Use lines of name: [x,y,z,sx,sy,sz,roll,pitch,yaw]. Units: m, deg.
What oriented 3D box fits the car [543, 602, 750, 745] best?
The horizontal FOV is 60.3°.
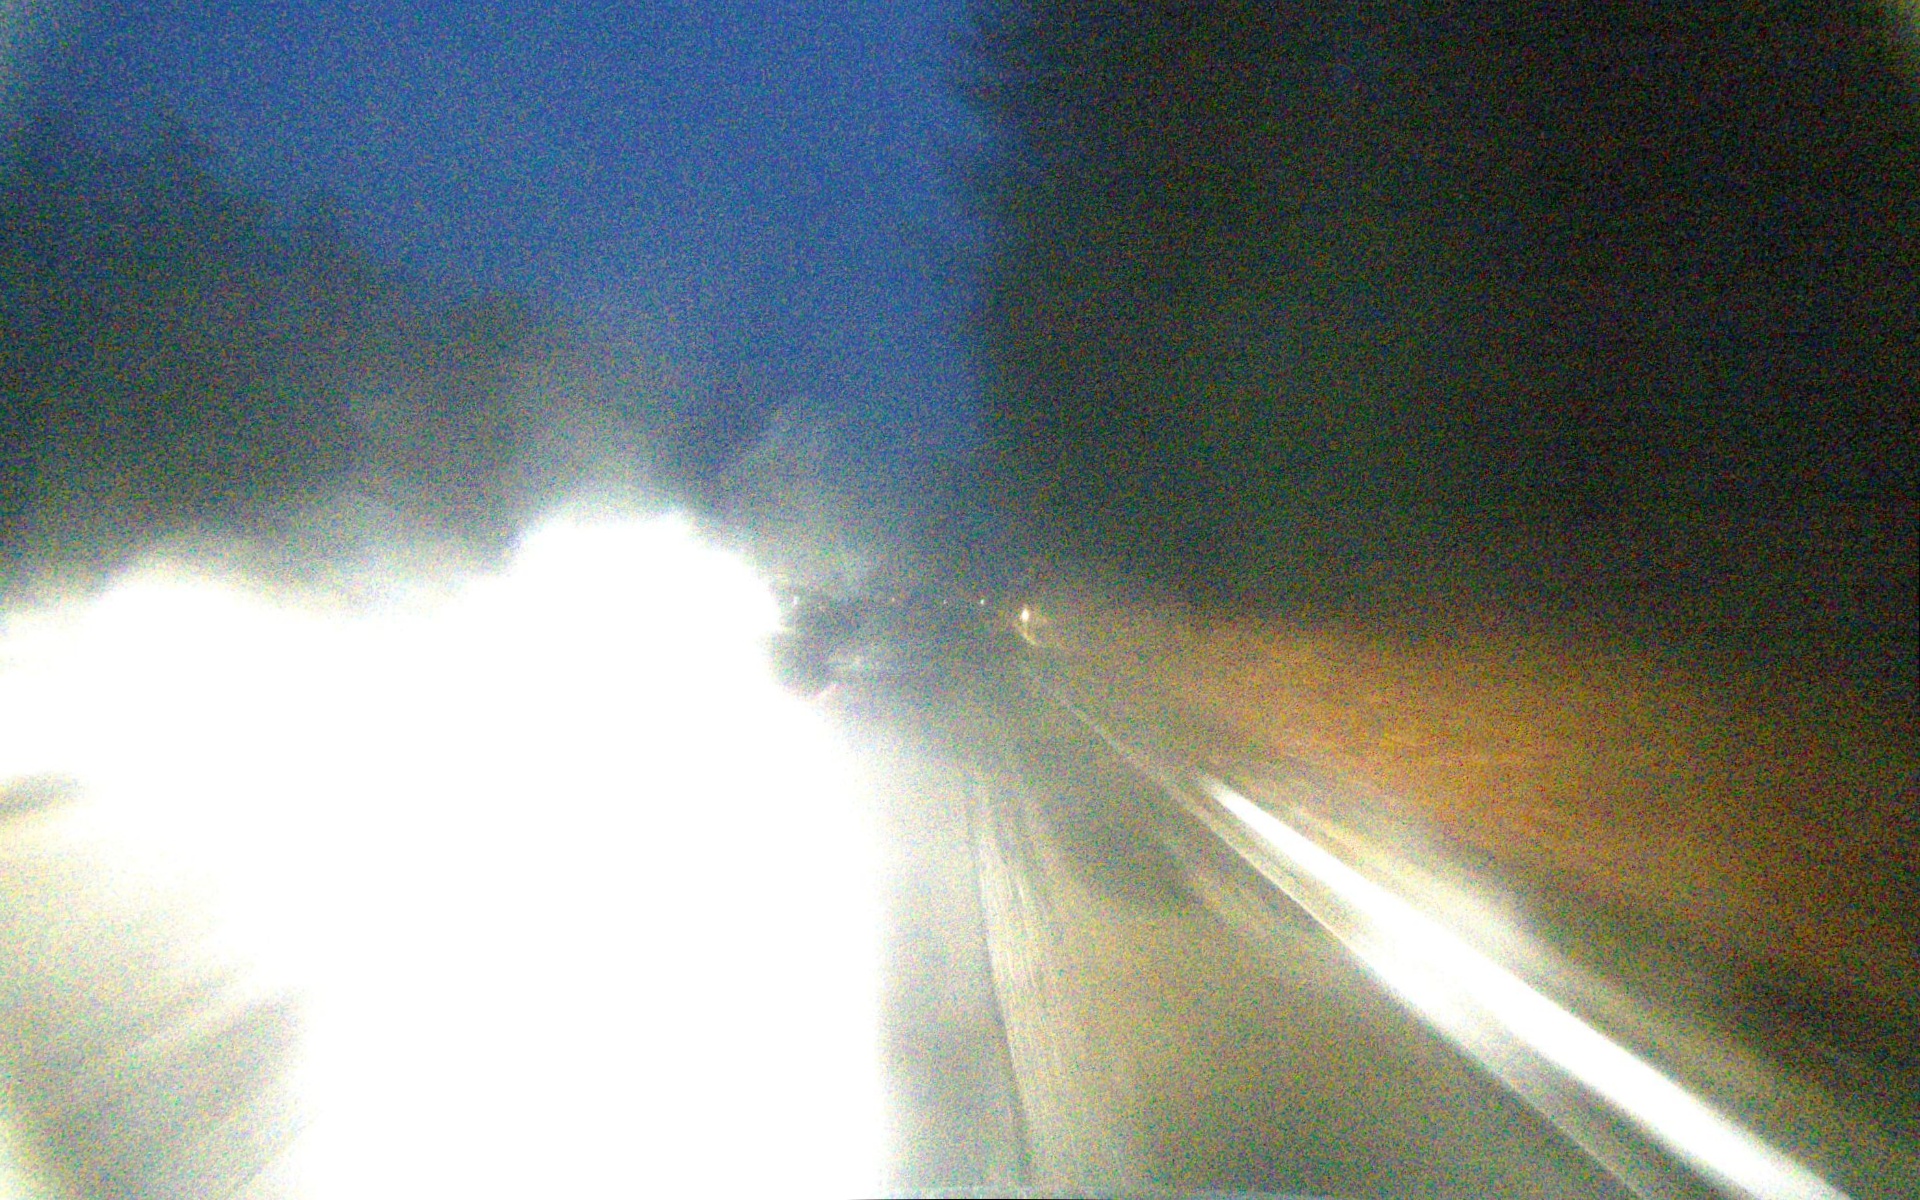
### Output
car: [-3.717,0.837,20.360,1.799,1.497,4.390,3,-1,-2]
